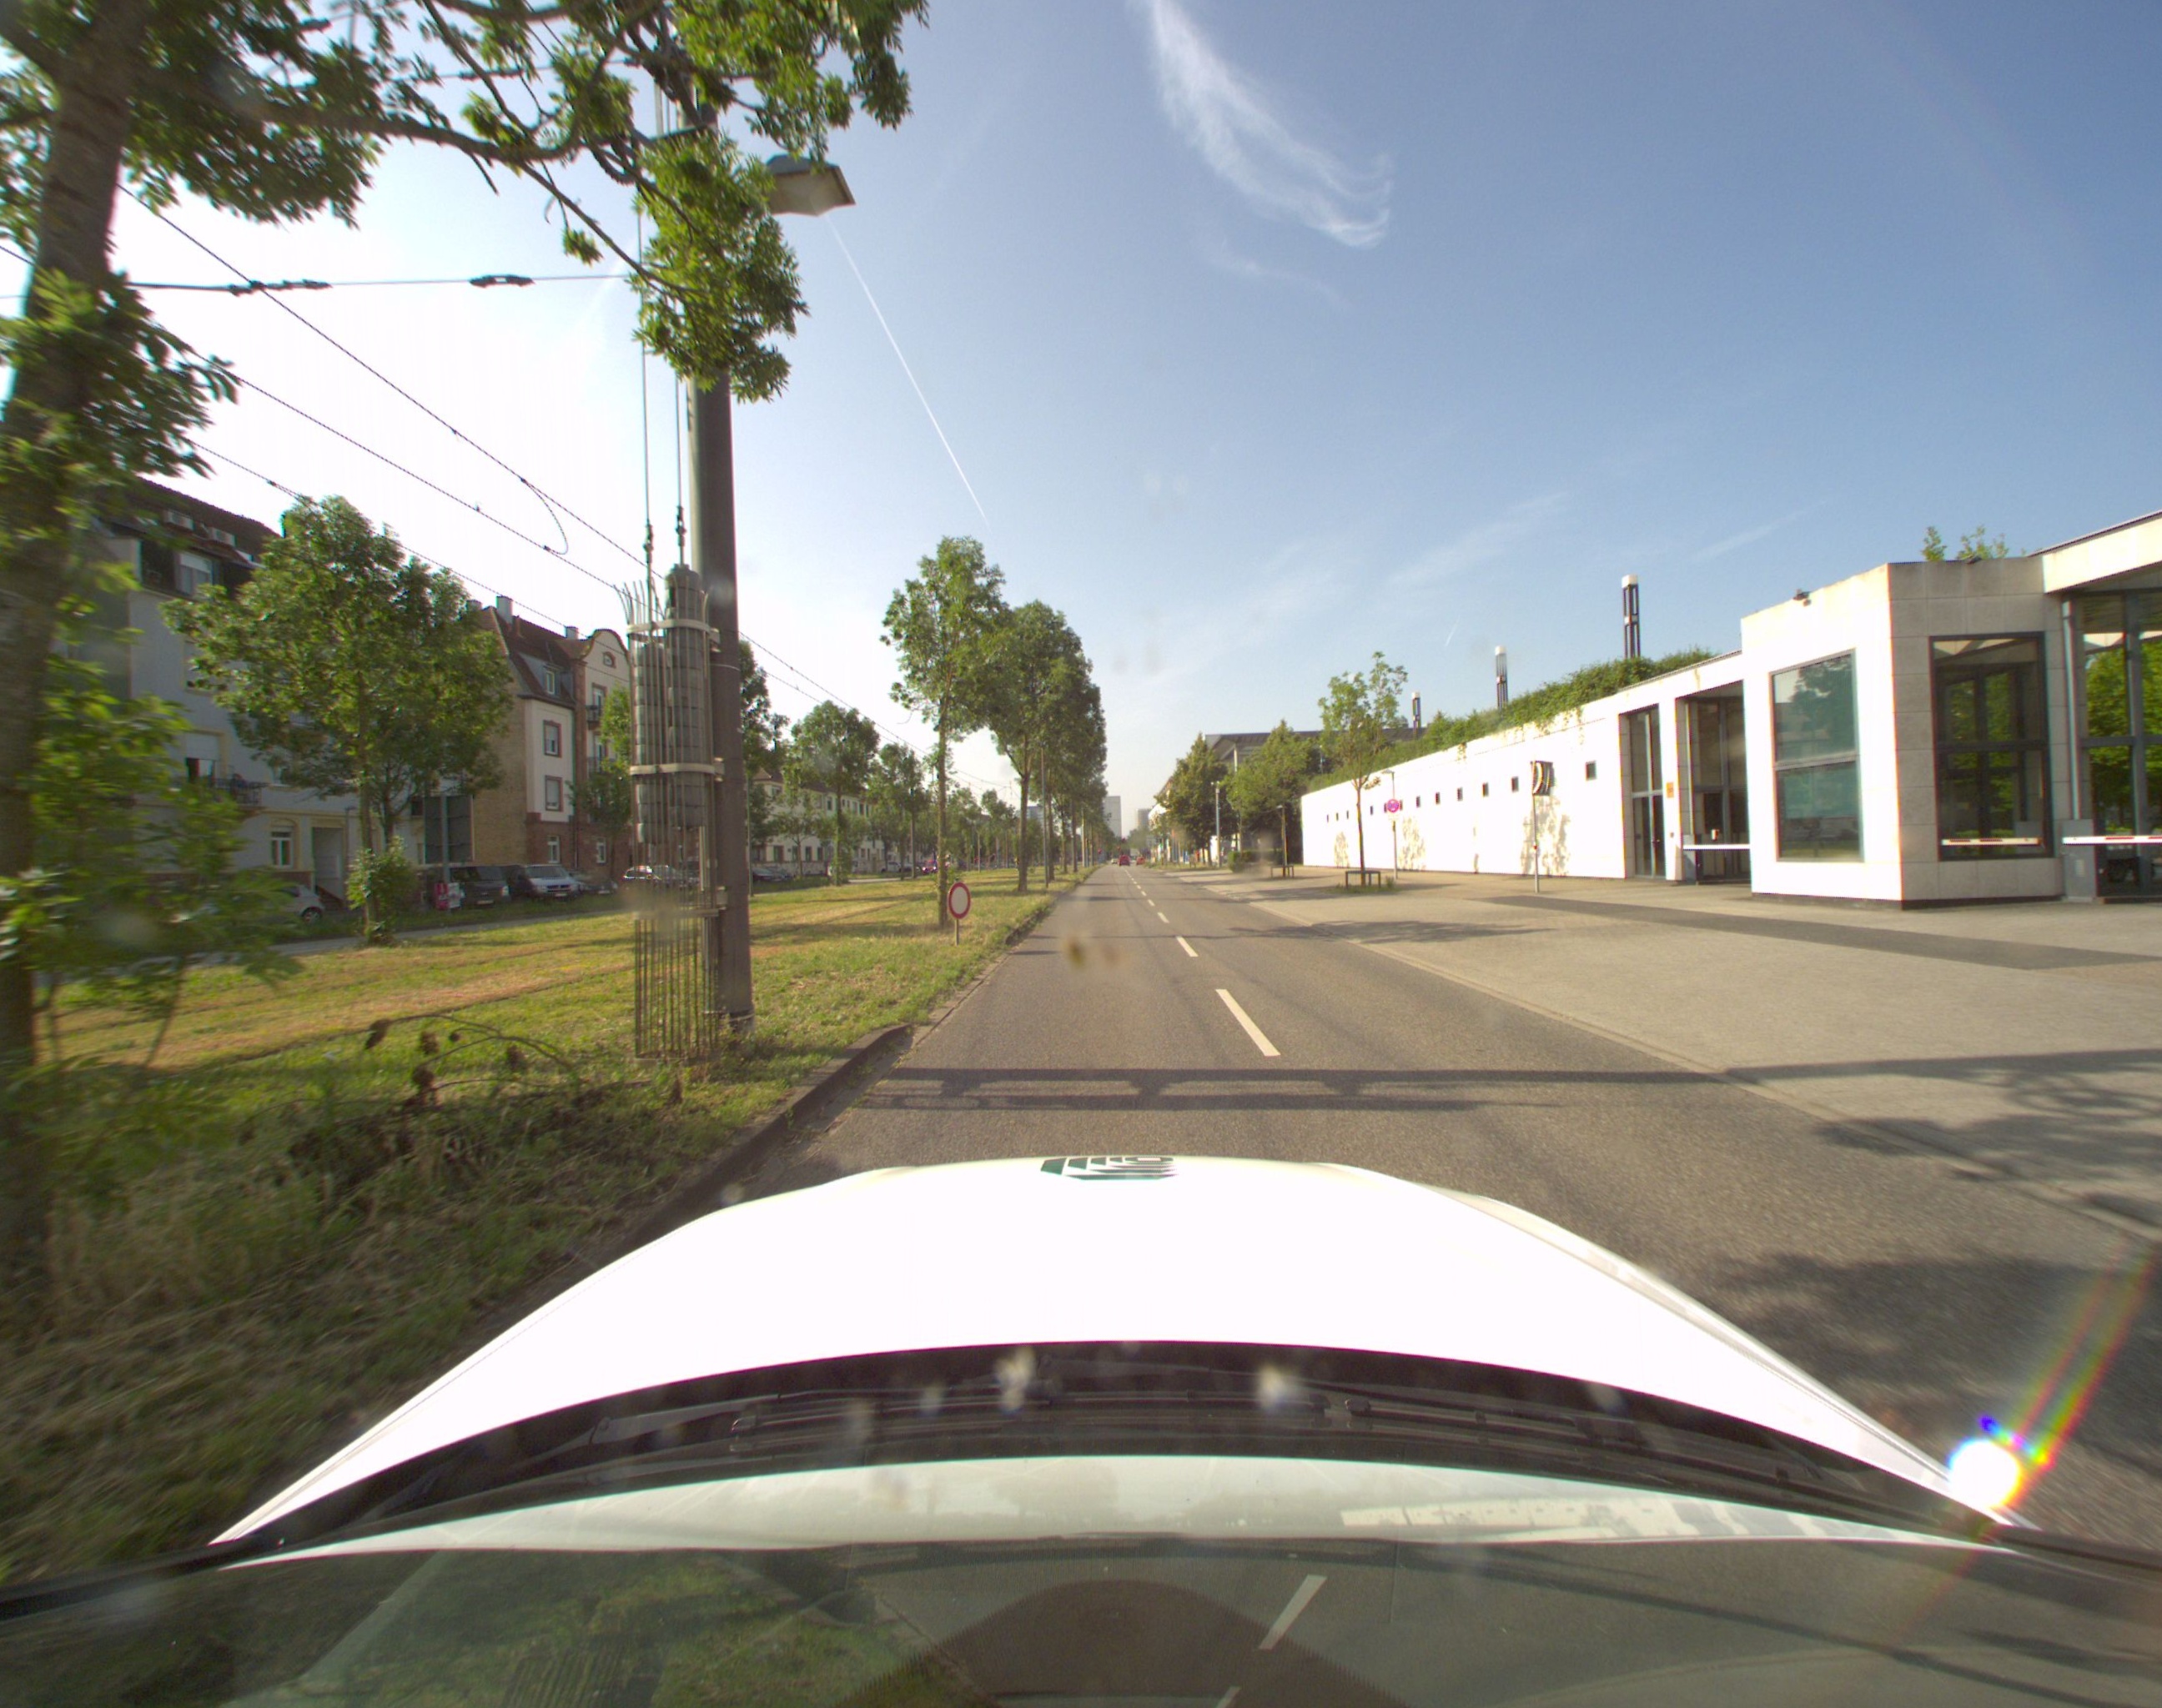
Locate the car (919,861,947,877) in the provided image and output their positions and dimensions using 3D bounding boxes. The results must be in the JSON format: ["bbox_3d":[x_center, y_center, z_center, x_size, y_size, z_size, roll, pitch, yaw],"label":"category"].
[{"bbox_3d":[-16.586,1.679,91.477,1.955,1.694,4.304,0,-1,6],"label":"car"}]

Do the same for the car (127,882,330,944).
[{"bbox_3d":[-26.208,1.743,25.292,1.884,1.628,4.155,0,0,0],"label":"car"}]

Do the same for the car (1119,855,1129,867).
[{"bbox_3d":[7.681,1.276,143.907,1.741,2.014,3.218,0,-1,3],"label":"car"}]

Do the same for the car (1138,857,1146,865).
[{"bbox_3d":[12.737,1.478,170.483,1.741,1.650,3.218,0,-1,3],"label":"car"}]

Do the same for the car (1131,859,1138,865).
[{"bbox_3d":[14.804,2.120,224.592,1.741,1.650,3.218,0,-1,3],"label":"car"}]

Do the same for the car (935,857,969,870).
[{"bbox_3d":[-20.396,1.563,128.948,5.169,2.014,1.888,0,-1,28],"label":"car"}]

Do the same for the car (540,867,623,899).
[{"bbox_3d":[-23.685,1.325,38.580,4.419,1.419,1.987,0,-1,39],"label":"car"}]

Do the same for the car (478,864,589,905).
[{"bbox_3d":[-23.805,1.273,35.334,5.155,1.623,2.070,0,-1,32],"label":"car"}]

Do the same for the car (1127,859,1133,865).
[{"bbox_3d":[14.998,2.430,251.091,1.741,1.650,3.218,0,-1,3],"label":"car"}]

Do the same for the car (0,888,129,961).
[{"bbox_3d":[-26.482,1.713,19.367,1.987,1.628,4.775,0,0,1],"label":"car"}]

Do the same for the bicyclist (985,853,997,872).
[{"bbox_3d":[-9.347,0.891,84.571,1.151,1.934,0.681,1,-1,-22],"label":"bicyclist"}]

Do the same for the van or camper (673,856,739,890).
[{"bbox_3d":[-29.614,1.454,64.589,2.031,2.567,6.358,0,-1,2],"label":"van or camper"}]

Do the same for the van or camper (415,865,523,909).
[{"bbox_3d":[-24.520,1.262,32.601,4.787,1.623,2.015,0,-1,35],"label":"van or camper"}]

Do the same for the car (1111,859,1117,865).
[{"bbox_3d":[9.866,2.398,240.129,1.741,1.650,3.218,0,-1,3],"label":"car"}]

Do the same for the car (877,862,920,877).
[{"bbox_3d":[-21.740,1.793,97.134,5.258,1.738,2.013,0,-1,36],"label":"car"}]

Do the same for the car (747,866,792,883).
[{"bbox_3d":[-22.281,1.434,58.206,3.124,1.161,1.506,0,-1,34],"label":"car"}]

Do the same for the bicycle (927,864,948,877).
[{"bbox_3d":[-14.568,1.672,82.761,2.069,1.324,0.780,1,-1,-14],"label":"bicycle"}]

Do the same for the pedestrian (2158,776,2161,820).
[{"bbox_3d":[19.429,-0.452,14.240,0.559,1.873,0.588,1,-3,-34],"label":"pedestrian"}]

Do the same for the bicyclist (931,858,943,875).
[{"bbox_3d":[-14.628,1.255,82.730,1.148,1.762,0.683,1,-1,-13],"label":"bicyclist"}]

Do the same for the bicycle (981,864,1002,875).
[{"bbox_3d":[-9.315,1.617,84.549,2.074,1.042,0.663,1,-1,-21],"label":"bicycle"}]

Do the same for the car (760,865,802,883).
[{"bbox_3d":[-22.751,1.512,61.770,3.124,1.326,1.506,0,-1,36],"label":"car"}]

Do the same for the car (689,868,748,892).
[{"bbox_3d":[-22.864,1.596,51.325,3.948,1.417,1.587,0,-1,35],"label":"car"}]

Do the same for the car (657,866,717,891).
[{"bbox_3d":[-23.684,1.449,48.932,3.948,1.417,1.587,0,-1,37],"label":"car"}]

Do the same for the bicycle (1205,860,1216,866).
[{"bbox_3d":[20.886,1.436,131.254,1.616,0.888,0.551,0,-1,0],"label":"bicycle"}]

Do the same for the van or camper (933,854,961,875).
[{"bbox_3d":[-16.103,1.276,98.422,2.195,2.531,6.032,0,-1,2],"label":"van or camper"}]
